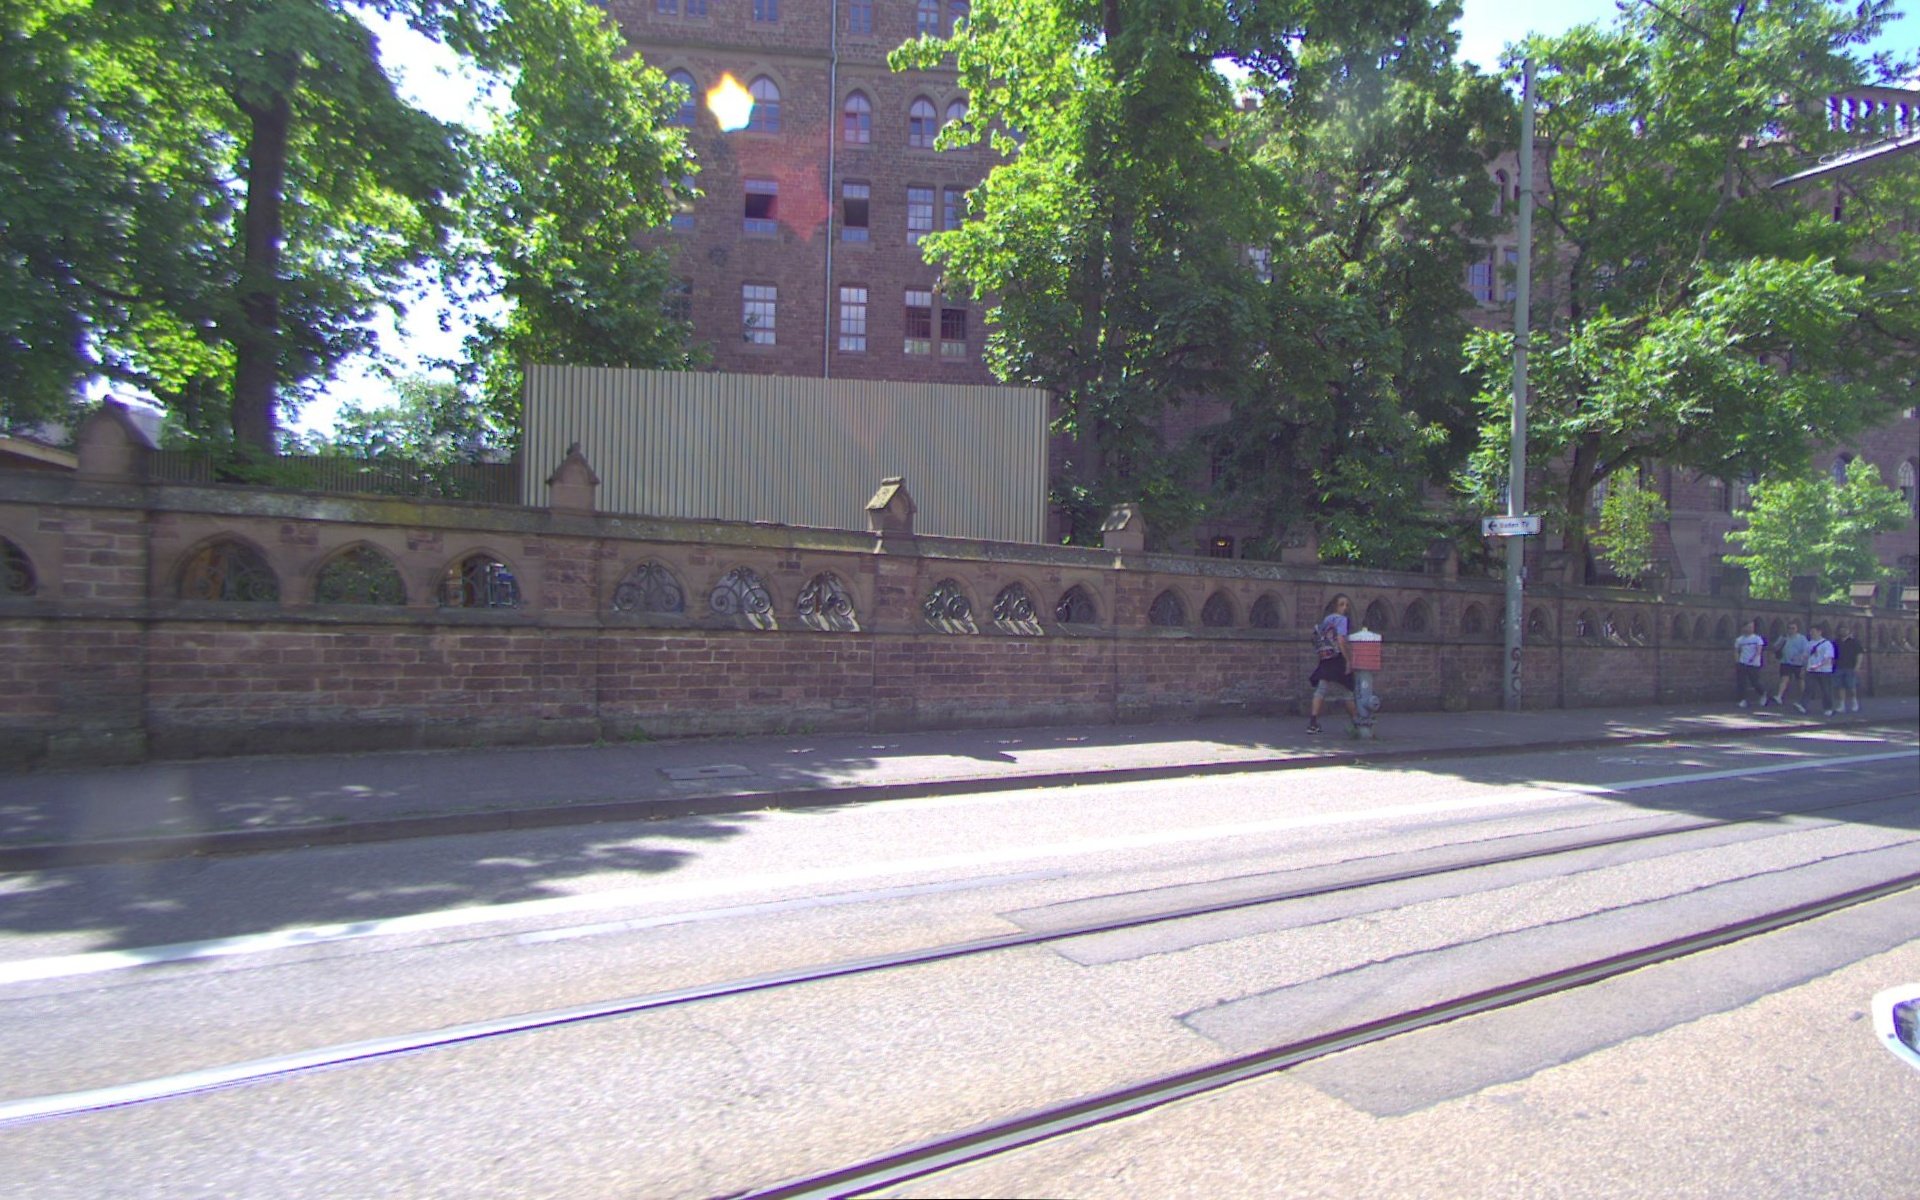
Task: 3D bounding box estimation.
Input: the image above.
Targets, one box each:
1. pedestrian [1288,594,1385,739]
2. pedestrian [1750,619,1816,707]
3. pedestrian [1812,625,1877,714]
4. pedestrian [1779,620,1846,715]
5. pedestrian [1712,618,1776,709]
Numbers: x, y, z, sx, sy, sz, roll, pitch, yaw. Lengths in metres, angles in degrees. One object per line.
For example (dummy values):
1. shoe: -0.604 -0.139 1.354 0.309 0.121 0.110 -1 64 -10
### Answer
1. pedestrian: 4.982 0.856 13.307 0.909 1.816 0.718 2 2 -30
2. pedestrian: 17.800 1.351 21.733 0.909 1.800 0.749 2 2 -30
3. pedestrian: 18.401 1.433 20.903 0.909 1.772 0.674 2 2 -30
4. pedestrian: 16.970 1.330 19.998 0.909 1.814 0.674 2 2 -30
5. pedestrian: 16.171 1.298 20.726 0.909 1.800 0.674 2 2 -30
